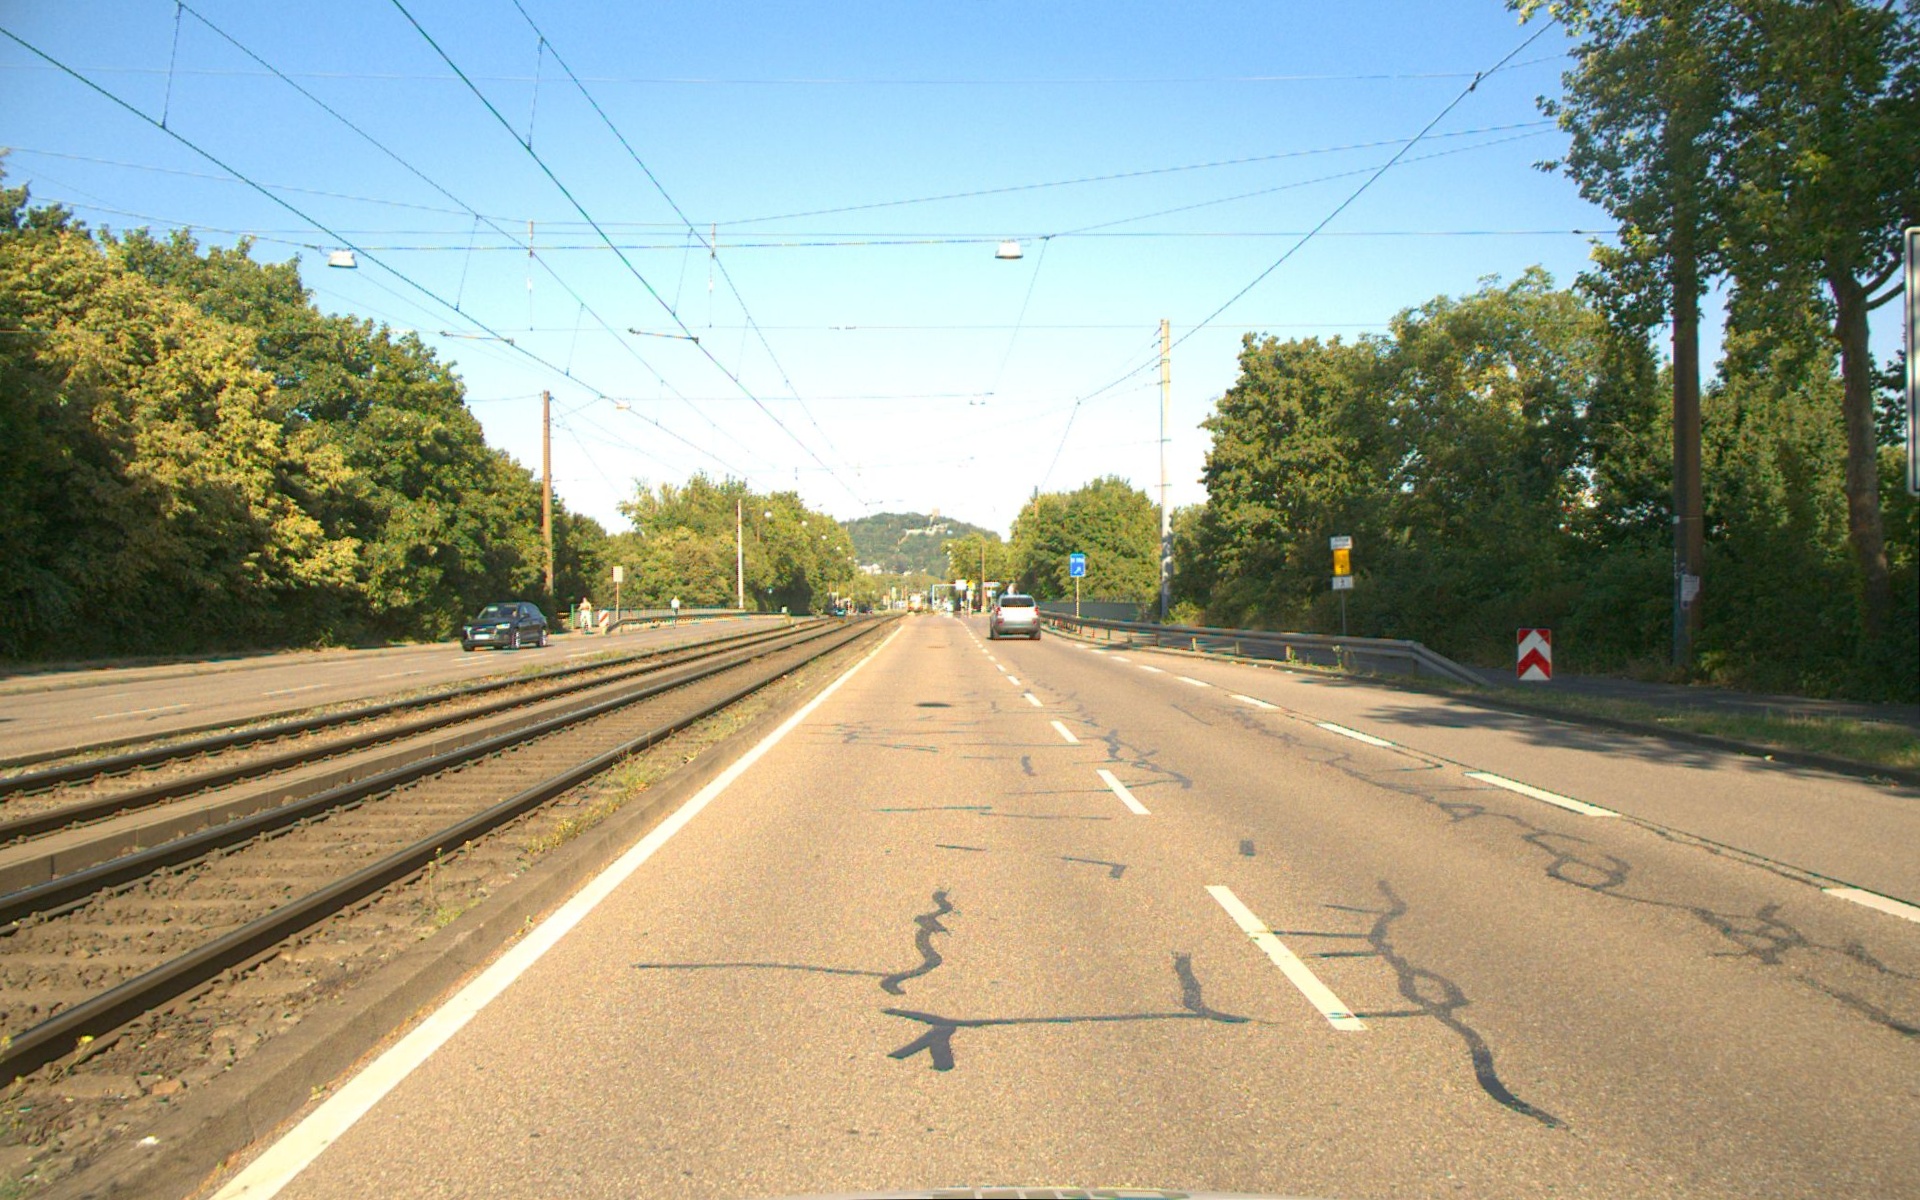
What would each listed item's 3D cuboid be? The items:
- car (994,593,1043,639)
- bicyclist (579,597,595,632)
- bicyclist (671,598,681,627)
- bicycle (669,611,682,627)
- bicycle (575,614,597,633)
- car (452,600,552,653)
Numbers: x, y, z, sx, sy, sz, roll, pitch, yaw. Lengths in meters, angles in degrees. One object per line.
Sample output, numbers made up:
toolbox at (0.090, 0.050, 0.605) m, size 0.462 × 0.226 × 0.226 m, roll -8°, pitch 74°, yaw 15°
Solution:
car at (2.234, 0.592, 63.724) m, size 1.849 × 1.723 × 4.257 m, roll 0°, pitch 0°, yaw 1°
bicyclist at (-18.077, 0.703, 80.219) m, size 0.497 × 1.716 × 0.919 m, roll 1°, pitch 0°, yaw 2°
bicyclist at (-18.937, 0.822, 110.292) m, size 0.529 × 1.895 × 0.875 m, roll 1°, pitch 0°, yaw -1°
bicycle at (-18.941, 1.252, 110.102) m, size 0.529 × 1.061 × 1.924 m, roll 1°, pitch 0°, yaw -1°
bicycle at (-18.093, 1.129, 80.050) m, size 0.497 × 0.908 × 2.028 m, roll 1°, pitch 0°, yaw 2°
car at (-15.931, 0.885, 57.827) m, size 1.952 × 1.715 × 4.797 m, roll -2°, pitch 0°, yaw 2°
